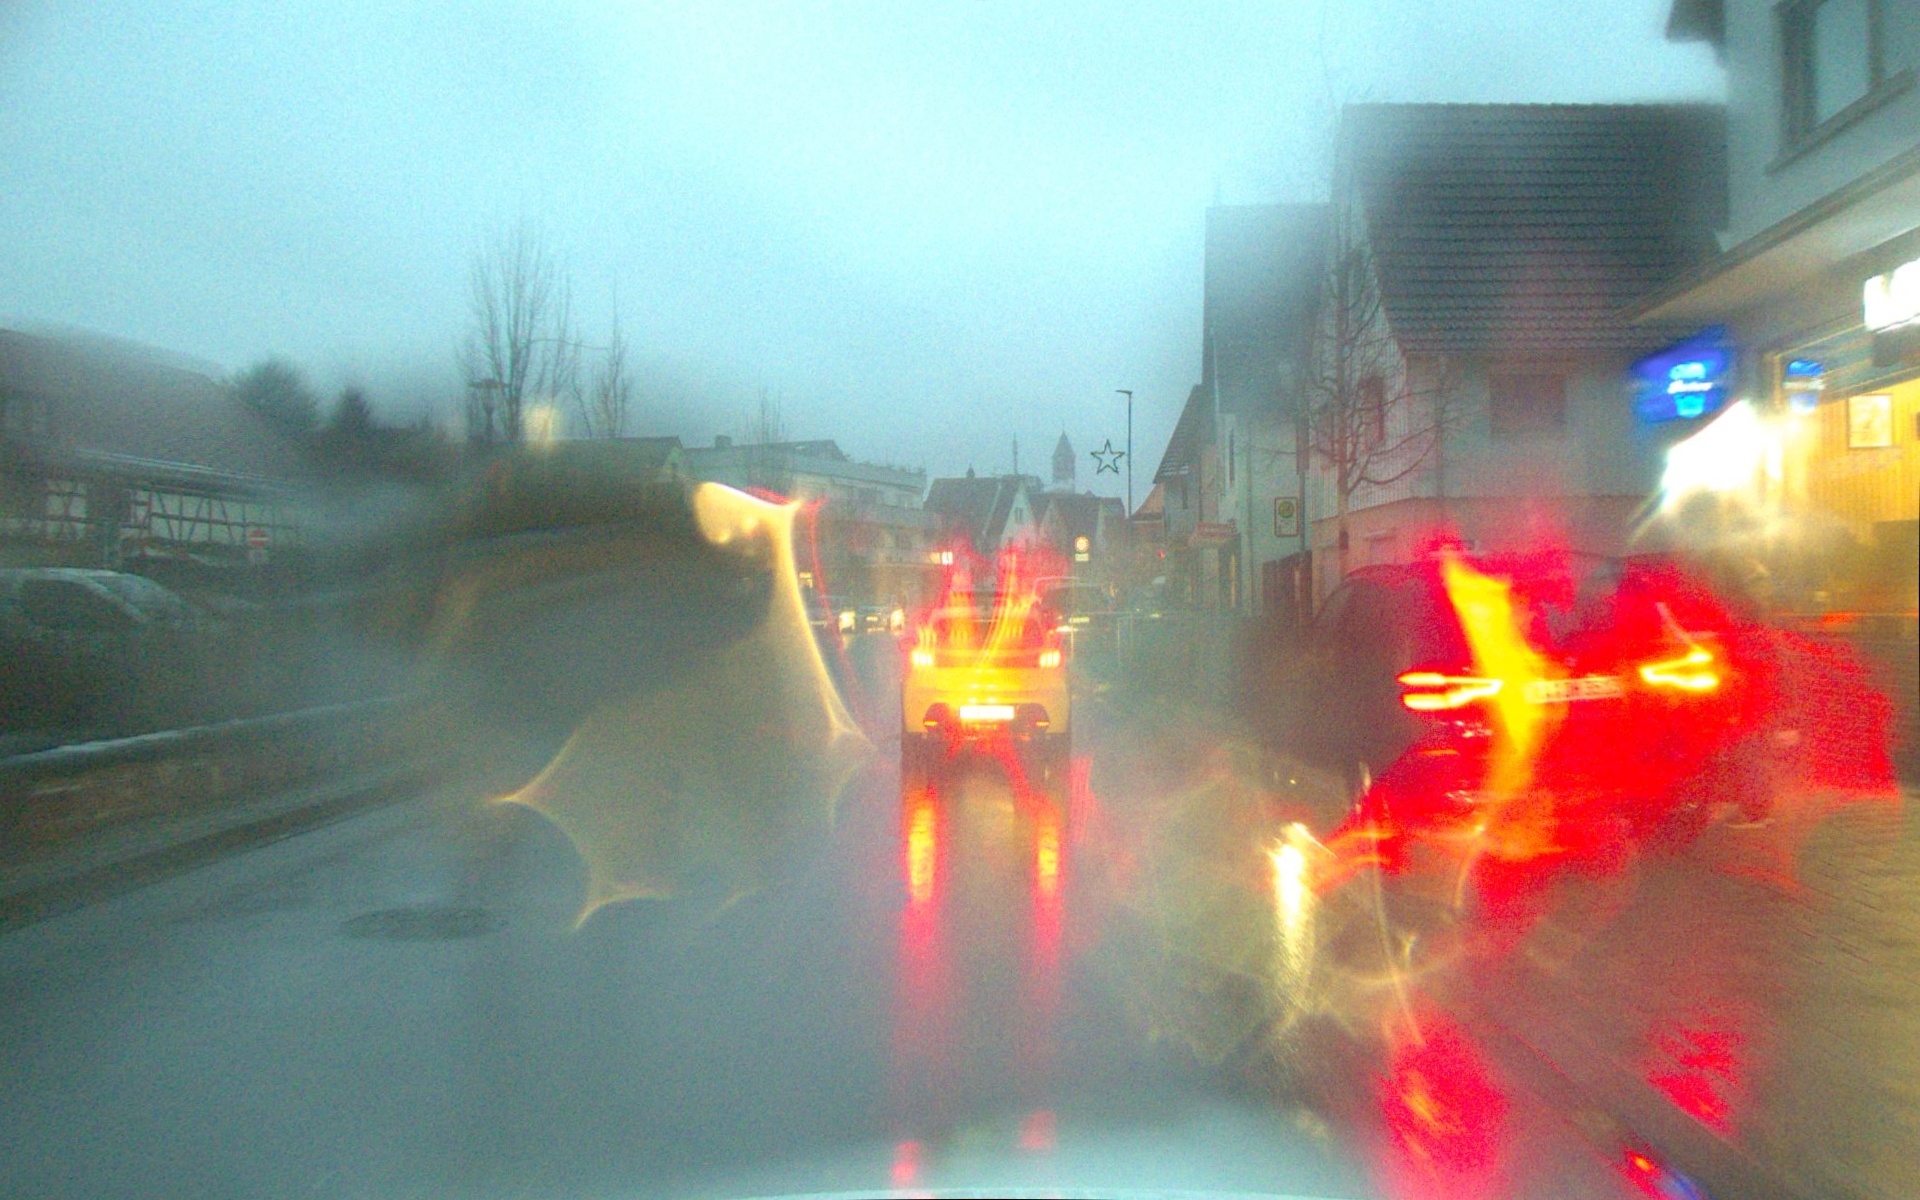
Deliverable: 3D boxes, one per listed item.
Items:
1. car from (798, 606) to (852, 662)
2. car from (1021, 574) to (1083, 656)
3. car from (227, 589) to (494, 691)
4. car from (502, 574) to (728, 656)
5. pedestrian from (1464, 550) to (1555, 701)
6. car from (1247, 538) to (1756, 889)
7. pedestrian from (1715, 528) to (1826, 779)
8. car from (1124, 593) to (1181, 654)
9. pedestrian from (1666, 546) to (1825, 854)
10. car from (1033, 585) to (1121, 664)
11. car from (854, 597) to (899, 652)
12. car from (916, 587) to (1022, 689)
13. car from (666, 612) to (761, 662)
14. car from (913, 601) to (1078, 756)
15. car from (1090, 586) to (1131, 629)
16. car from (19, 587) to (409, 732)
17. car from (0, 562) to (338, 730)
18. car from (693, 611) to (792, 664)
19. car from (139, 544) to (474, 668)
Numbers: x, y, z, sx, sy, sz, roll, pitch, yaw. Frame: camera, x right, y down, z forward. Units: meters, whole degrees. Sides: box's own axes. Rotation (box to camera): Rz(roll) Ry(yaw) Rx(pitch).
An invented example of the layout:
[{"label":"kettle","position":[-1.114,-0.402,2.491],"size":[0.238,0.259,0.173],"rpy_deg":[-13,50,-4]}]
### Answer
[{"label":"car","position":[-5.282,1.373,65.136],"size":[1.881,2.063,3.973],"rpy_deg":[1,-2,-2]},{"label":"car","position":[3.007,0.551,54.755],"size":[1.831,2.512,4.443],"rpy_deg":[1,-2,1]},{"label":"car","position":[-9.294,0.609,25.809],"size":[3.470,1.472,1.710],"rpy_deg":[1,-1,4]},{"label":"car","position":[-8.620,0.368,41.406],"size":[5.281,1.849,1.713],"rpy_deg":[2,-1,13]},{"label":"pedestrian","position":[5.733,0.254,17.268],"size":[0.607,1.542,0.731],"rpy_deg":[0,1,-13]},{"label":"car","position":[3.067,0.575,10.396],"size":[1.700,1.722,4.385],"rpy_deg":[0,0,-1]},{"label":"pedestrian","position":[5.839,0.381,11.936],"size":[0.605,1.757,0.502],"rpy_deg":[1,-3,12]},{"label":"car","position":[7.778,0.989,67.169],"size":[1.952,2.288,4.000],"rpy_deg":[1,-2,2]},{"label":"pedestrian","position":[4.607,0.573,9.733],"size":[0.561,1.729,0.653],"rpy_deg":[-2,-1,1]},{"label":"car","position":[2.932,0.625,42.266],"size":[1.956,1.897,4.082],"rpy_deg":[0,-1,0]},{"label":"car","position":[-3.656,1.121,73.060],"size":[1.881,2.254,3.973],"rpy_deg":[1,-2,-2]},{"label":"car","position":[0.213,0.636,29.296],"size":[1.730,1.657,3.586],"rpy_deg":[1,0,2]},{"label":"car","position":[-10.305,1.542,69.052],"size":[4.098,2.011,1.810],"rpy_deg":[-1,-3,44]},{"label":"car","position":[0.335,0.747,17.164],"size":[1.531,1.437,3.017],"rpy_deg":[1,0,0]},{"label":"car","position":[7.250,0.370,79.269],"size":[1.830,1.867,4.446],"rpy_deg":[1,-2,7]},{"label":"car","position":[-9.239,0.716,20.669],"size":[4.109,1.681,1.680],"rpy_deg":[1,-1,4]},{"label":"car","position":[-9.391,0.477,17.908],"size":[4.533,1.697,1.999],"rpy_deg":[1,-1,-3]},{"label":"car","position":[-9.465,1.627,71.897],"size":[4.311,2.205,1.986],"rpy_deg":[-1,-3,44]},{"label":"car","position":[-9.183,0.084,23.418],"size":[4.079,1.673,1.659],"rpy_deg":[0,-1,4]}]
